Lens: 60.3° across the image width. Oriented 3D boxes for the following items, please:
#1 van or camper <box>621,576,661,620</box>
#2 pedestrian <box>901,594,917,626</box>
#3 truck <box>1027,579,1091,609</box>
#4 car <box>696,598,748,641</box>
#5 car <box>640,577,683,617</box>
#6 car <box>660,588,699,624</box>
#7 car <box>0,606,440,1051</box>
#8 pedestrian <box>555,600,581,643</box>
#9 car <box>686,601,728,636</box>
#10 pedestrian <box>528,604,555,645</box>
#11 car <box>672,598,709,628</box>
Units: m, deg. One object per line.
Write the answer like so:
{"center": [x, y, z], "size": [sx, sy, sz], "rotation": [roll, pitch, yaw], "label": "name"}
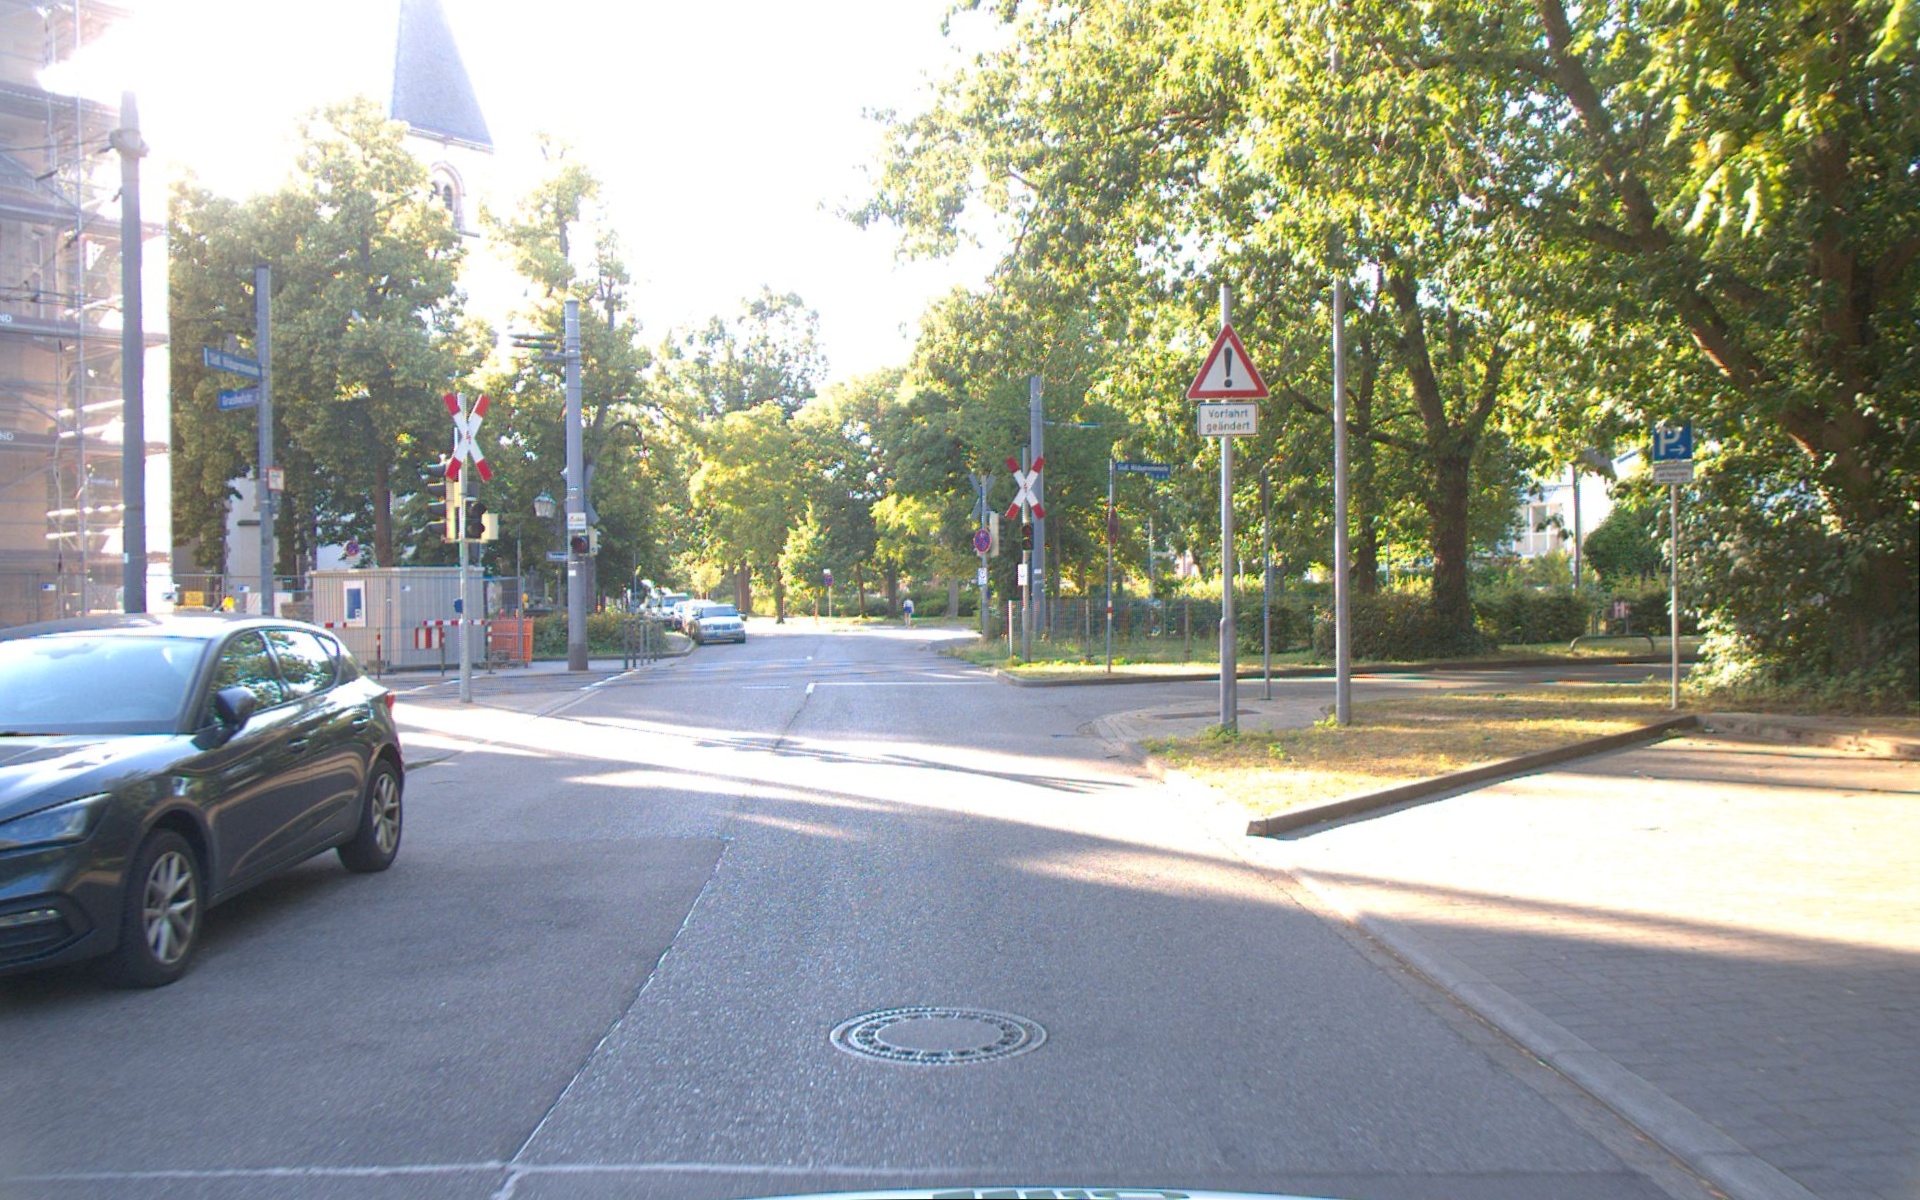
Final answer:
{"center": [-21.870, -0.138, 113.219], "size": [2.056, 2.959, 6.302], "rotation": [-1, 0, -17], "label": "van or camper"}
{"center": [-2.598, 0.513, 84.441], "size": [0.758, 1.602, 0.767], "rotation": [-1, 0, -5], "label": "pedestrian"}
{"center": [10.474, -0.604, 176.213], "size": [2.581, 3.082, 7.913], "rotation": [0, 0, -34], "label": "truck"}
{"center": [-8.839, 0.686, 61.208], "size": [1.747, 1.440, 4.487], "rotation": [-3, 1, -10], "label": "car"}
{"center": [-18.228, -0.179, 100.860], "size": [1.823, 2.397, 5.156], "rotation": [-1, 0, -19], "label": "car"}
{"center": [-15.989, 0.318, 94.107], "size": [1.820, 1.980, 4.822], "rotation": [-1, 0, -14], "label": "car"}
{"center": [-3.948, 0.795, 7.666], "size": [1.708, 1.473, 4.208], "rotation": [-1, 0, 0], "label": "car"}
{"center": [-12.085, 0.658, 51.012], "size": [0.539, 1.320, 0.766], "rotation": [-1, 0, 3], "label": "pedestrian"}
{"center": [-11.400, 0.796, 74.469], "size": [1.585, 1.465, 3.594], "rotation": [-2, 0, -13], "label": "car"}
{"center": [-12.850, 0.744, 50.849], "size": [0.539, 1.216, 0.884], "rotation": [-1, 0, 3], "label": "pedestrian"}
{"center": [-14.018, 0.649, 85.821], "size": [1.589, 1.527, 3.683], "rotation": [-1, 0, -14], "label": "car"}
